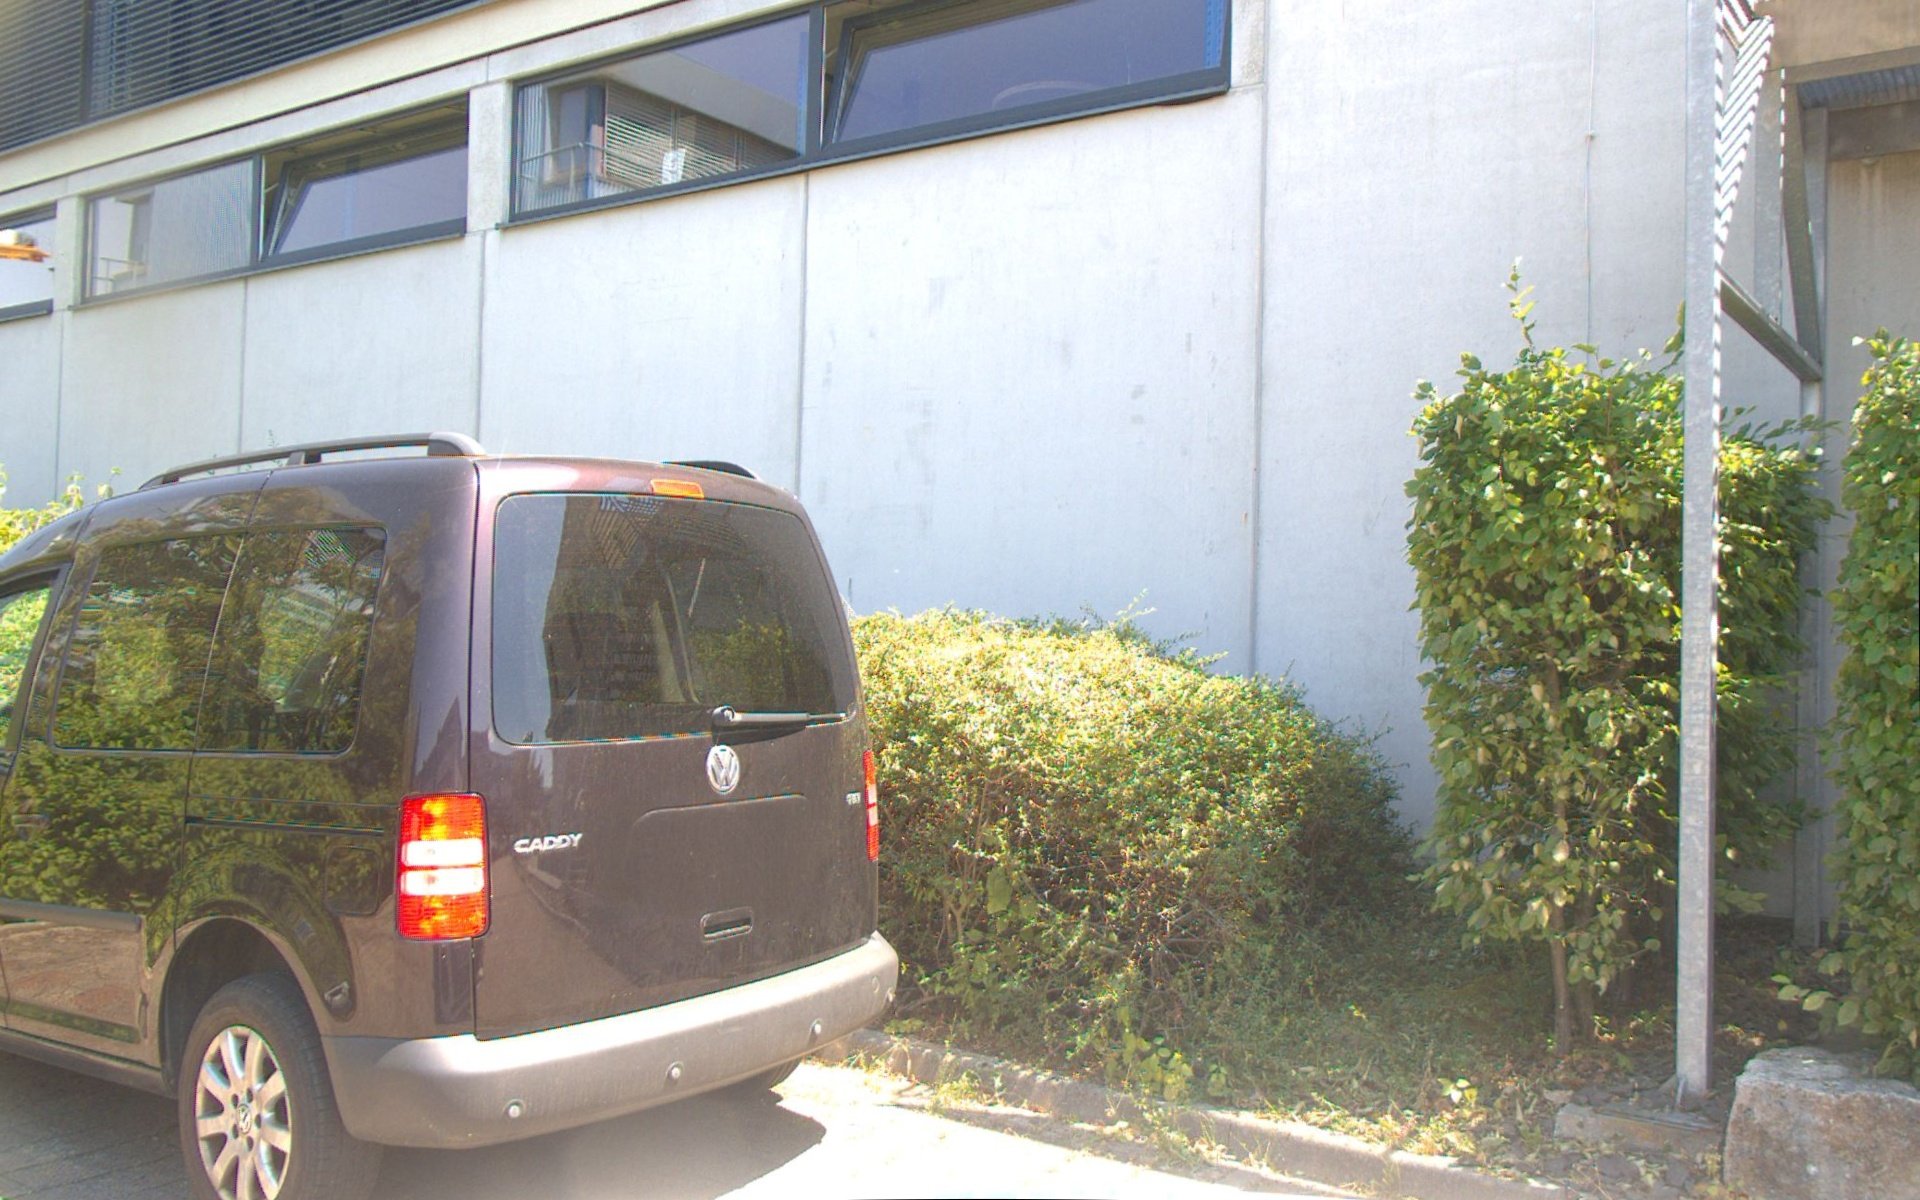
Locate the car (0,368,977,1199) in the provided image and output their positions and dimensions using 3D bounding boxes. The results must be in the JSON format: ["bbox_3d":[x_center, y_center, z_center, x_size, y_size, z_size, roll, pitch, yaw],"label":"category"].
[{"bbox_3d":[-2.054,0.494,5.080,3.991,1.917,1.672,1,0,37],"label":"car"}]
